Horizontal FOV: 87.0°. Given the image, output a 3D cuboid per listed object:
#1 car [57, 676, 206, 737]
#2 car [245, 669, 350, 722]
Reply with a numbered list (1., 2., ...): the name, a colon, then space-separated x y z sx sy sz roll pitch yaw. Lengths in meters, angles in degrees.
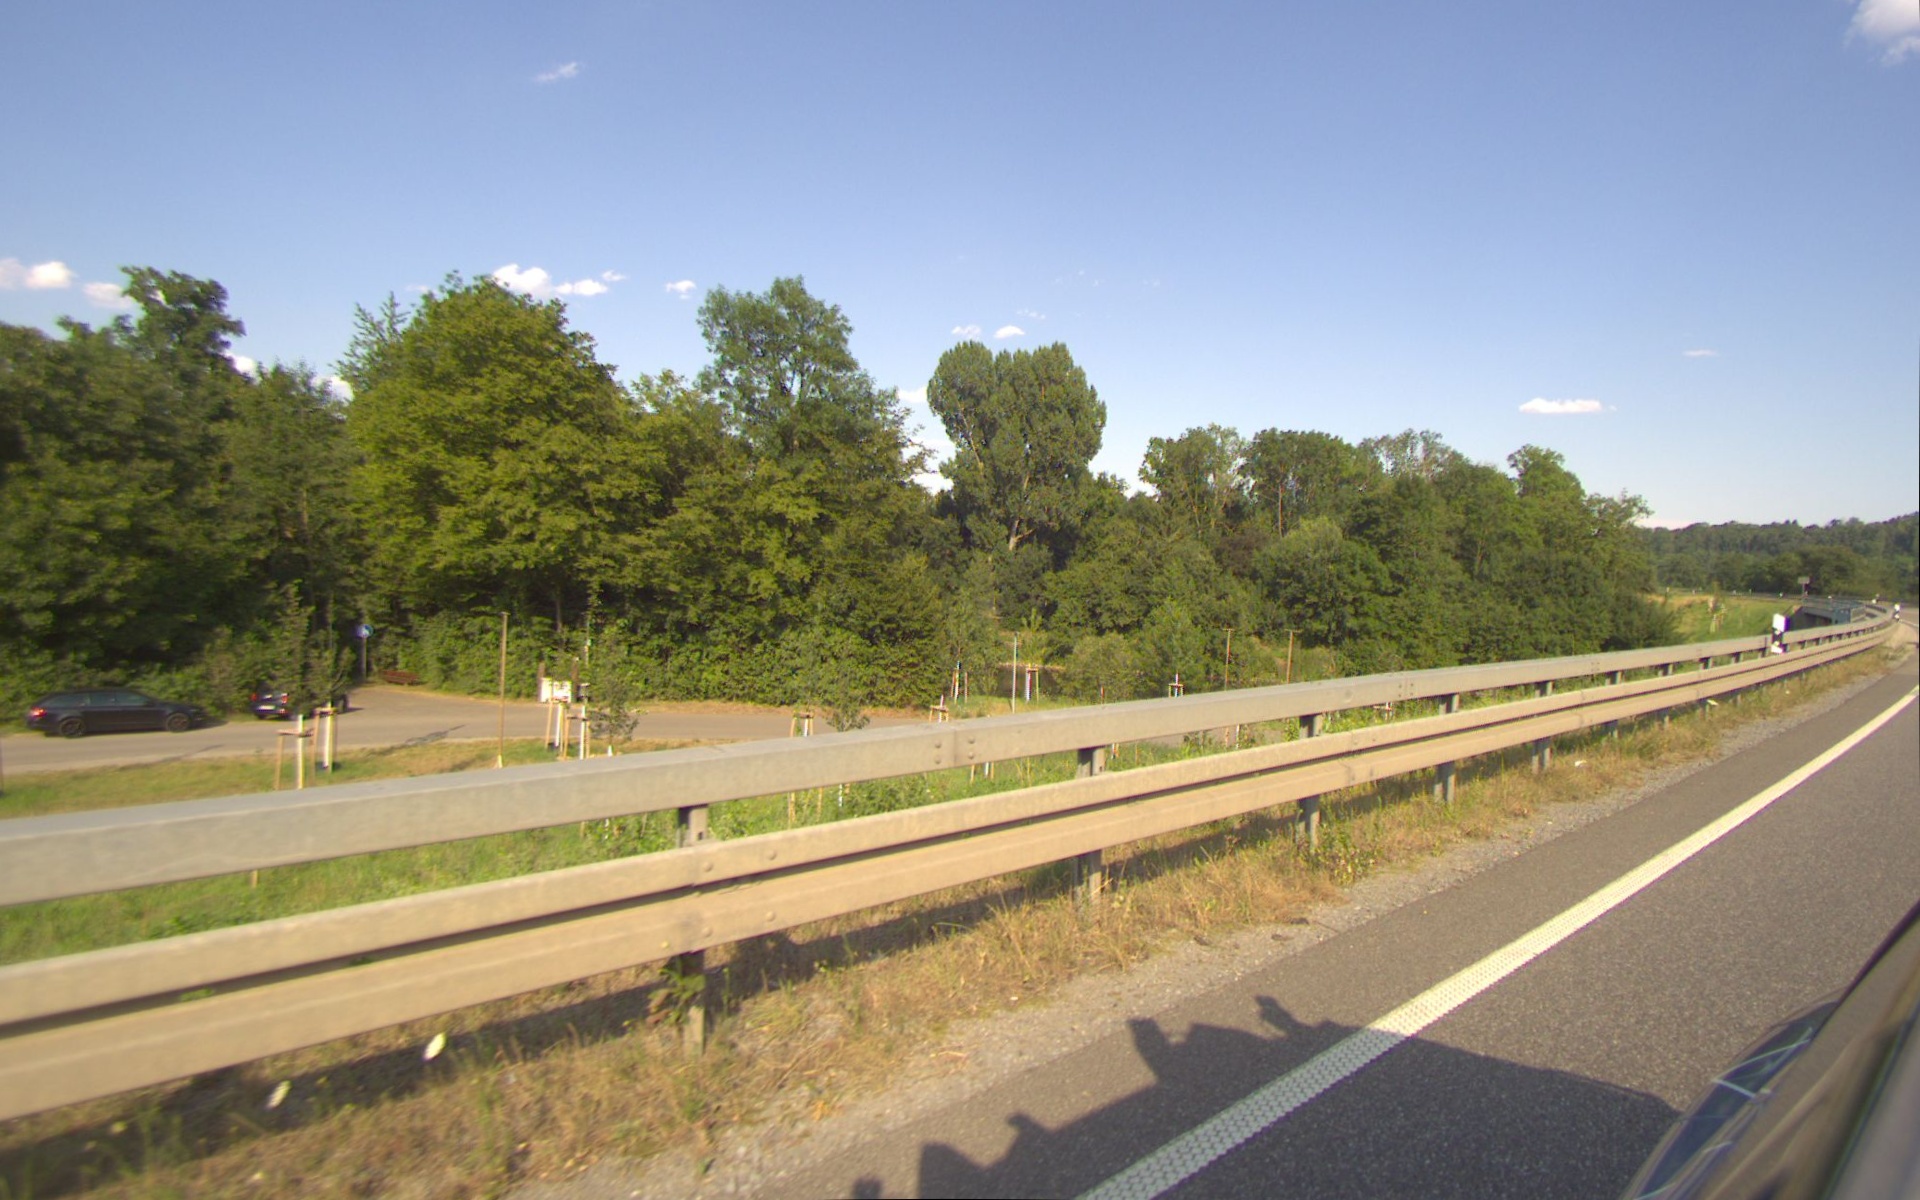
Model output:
1. car: -27.500 3.493 33.660 3.765 1.515 1.656 -1 2 -43
2. car: -24.850 3.551 38.093 1.628 1.515 3.687 1 2 -1
